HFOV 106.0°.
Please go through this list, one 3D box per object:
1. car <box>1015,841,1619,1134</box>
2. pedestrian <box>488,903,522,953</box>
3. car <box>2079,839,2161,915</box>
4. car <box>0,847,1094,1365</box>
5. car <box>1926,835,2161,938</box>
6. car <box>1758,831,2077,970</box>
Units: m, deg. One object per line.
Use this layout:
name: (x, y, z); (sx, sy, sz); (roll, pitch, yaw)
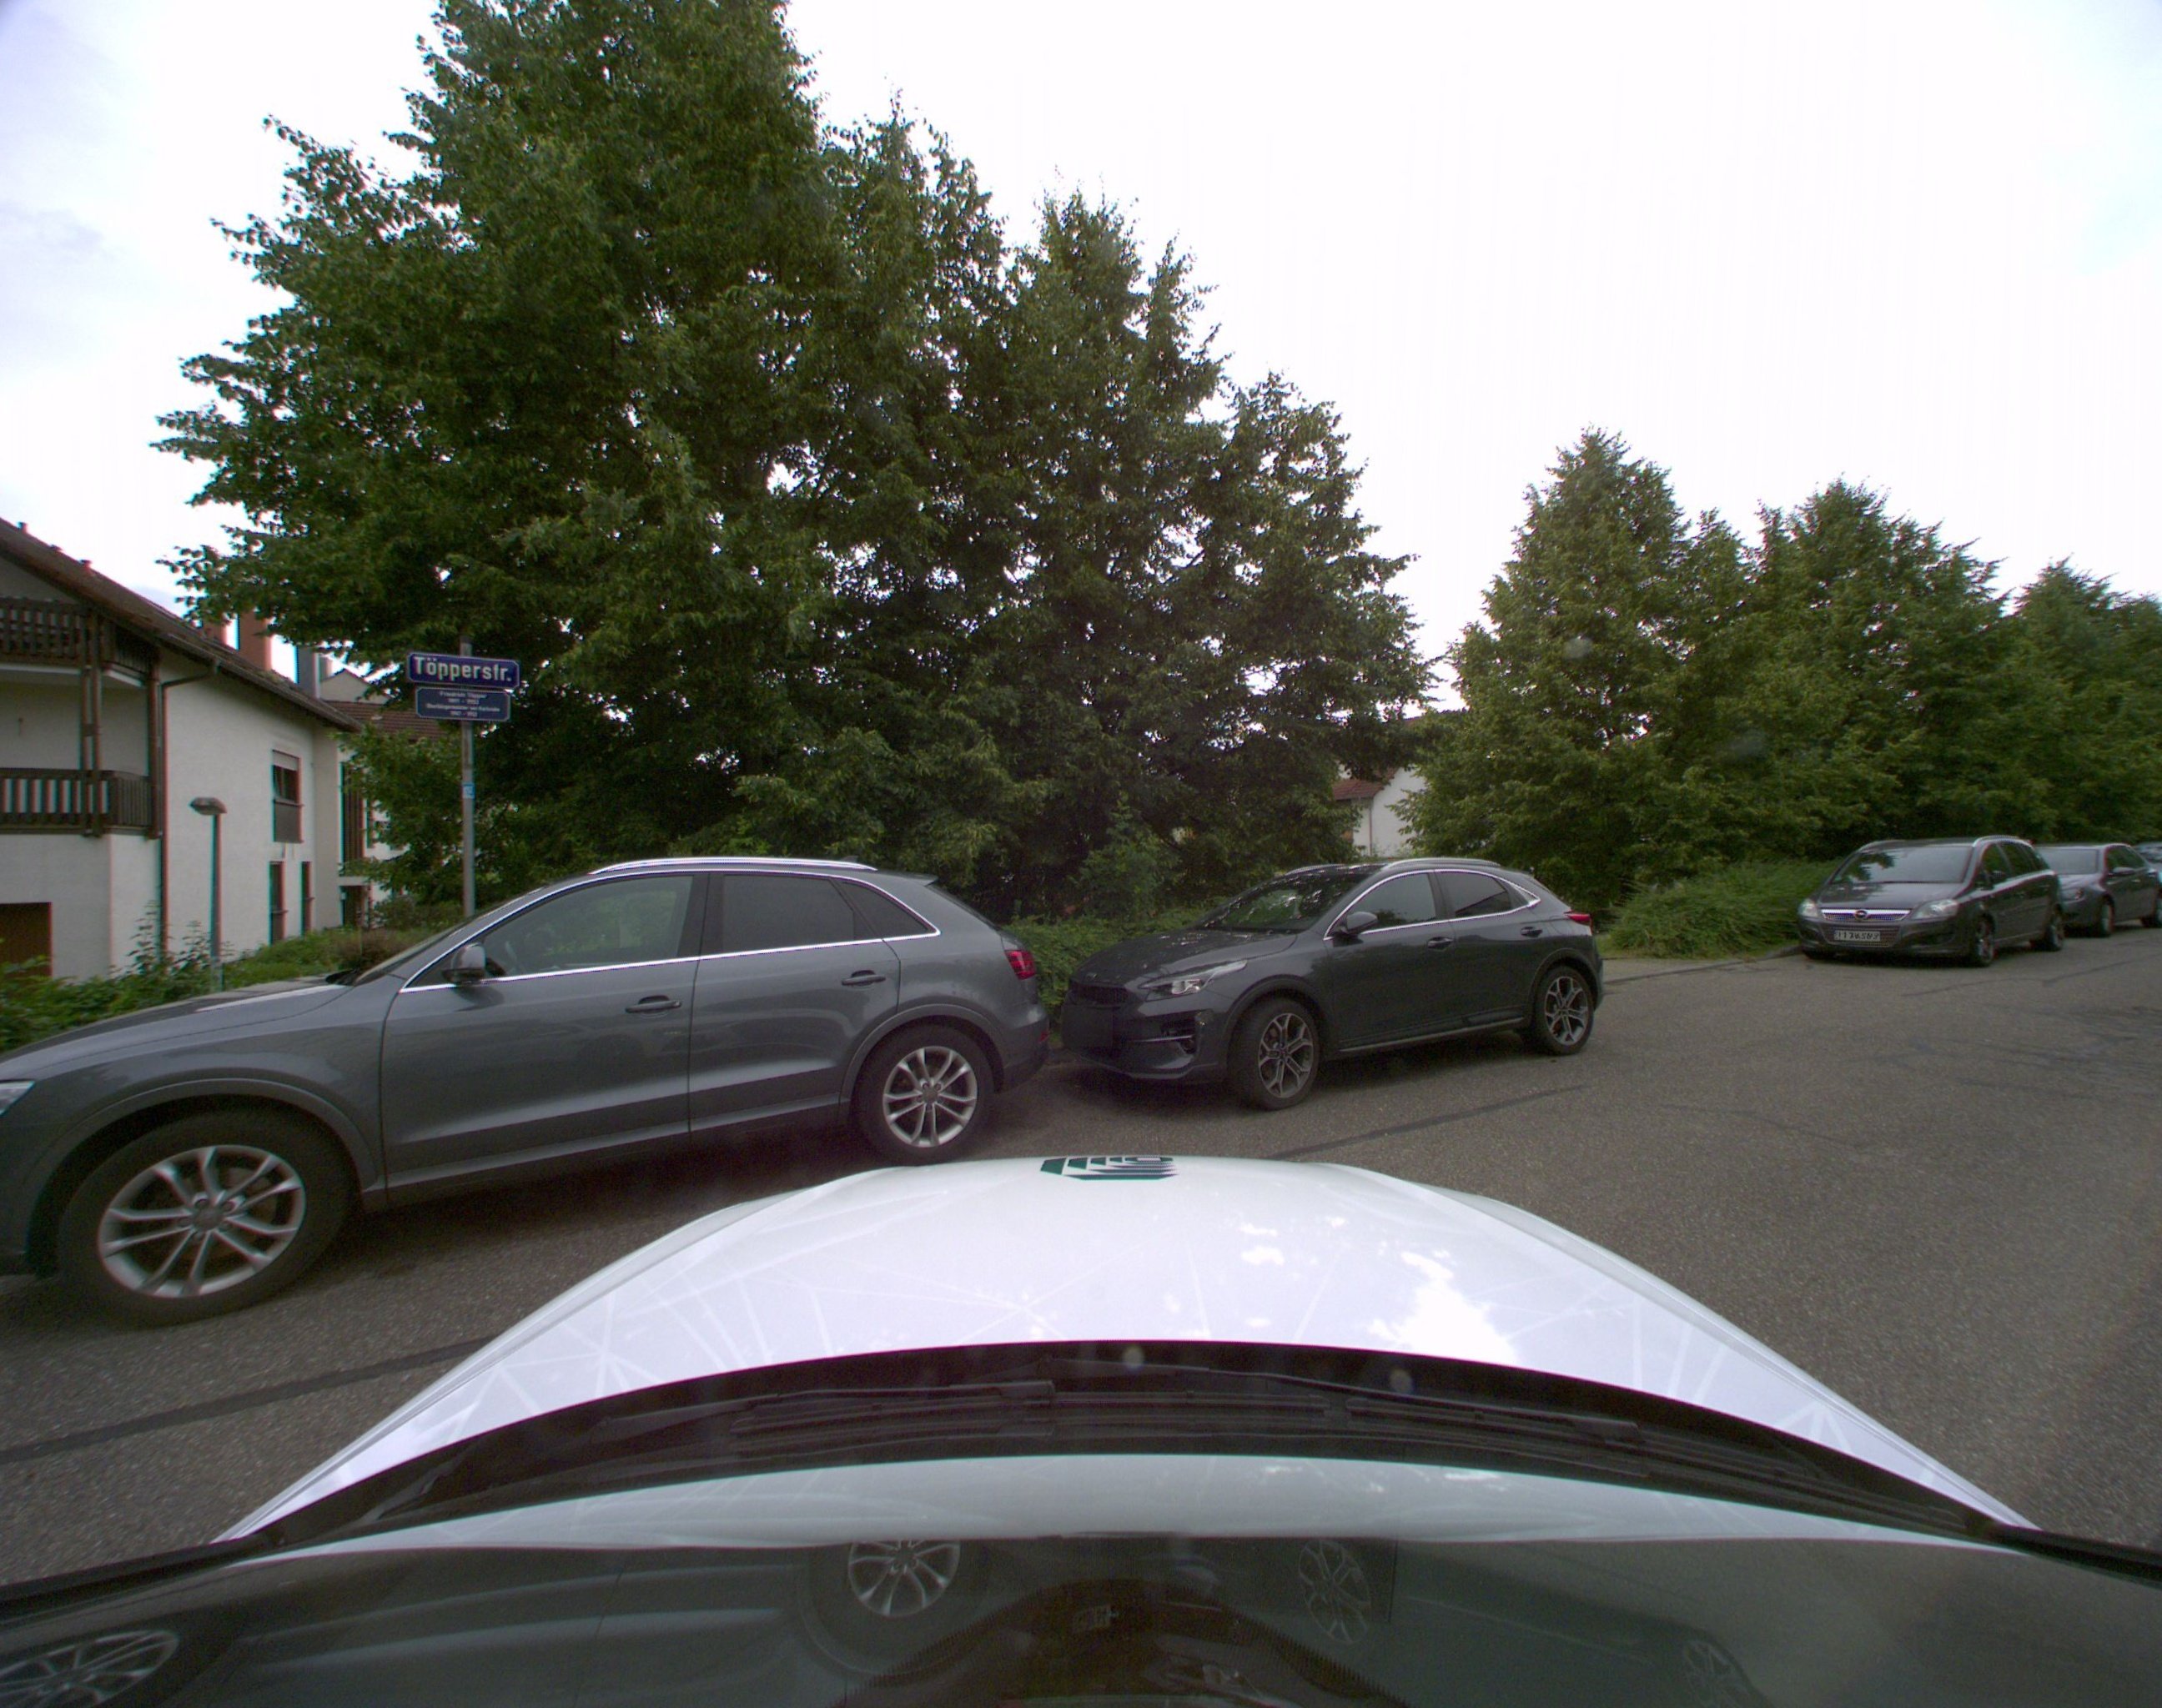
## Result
car: (1.793, 0.740, 6.090); (4.202, 1.531, 1.733); (-1, -2, -25)
pedestrian: (-18.403, 2.337, 26.024); (0.820, 1.517, 0.434); (-1, -1, -32)
car: (22.159, 0.387, 16.220); (4.485, 1.428, 1.767); (-1, -2, -25)
car: (-2.223, 0.799, 4.127); (4.264, 1.531, 1.730); (-1, -2, -30)
car: (16.463, 0.492, 13.689); (4.312, 1.479, 1.748); (-1, -2, -25)
car: (11.601, 0.549, 11.253); (4.563, 1.594, 1.747); (-1, -2, -27)
